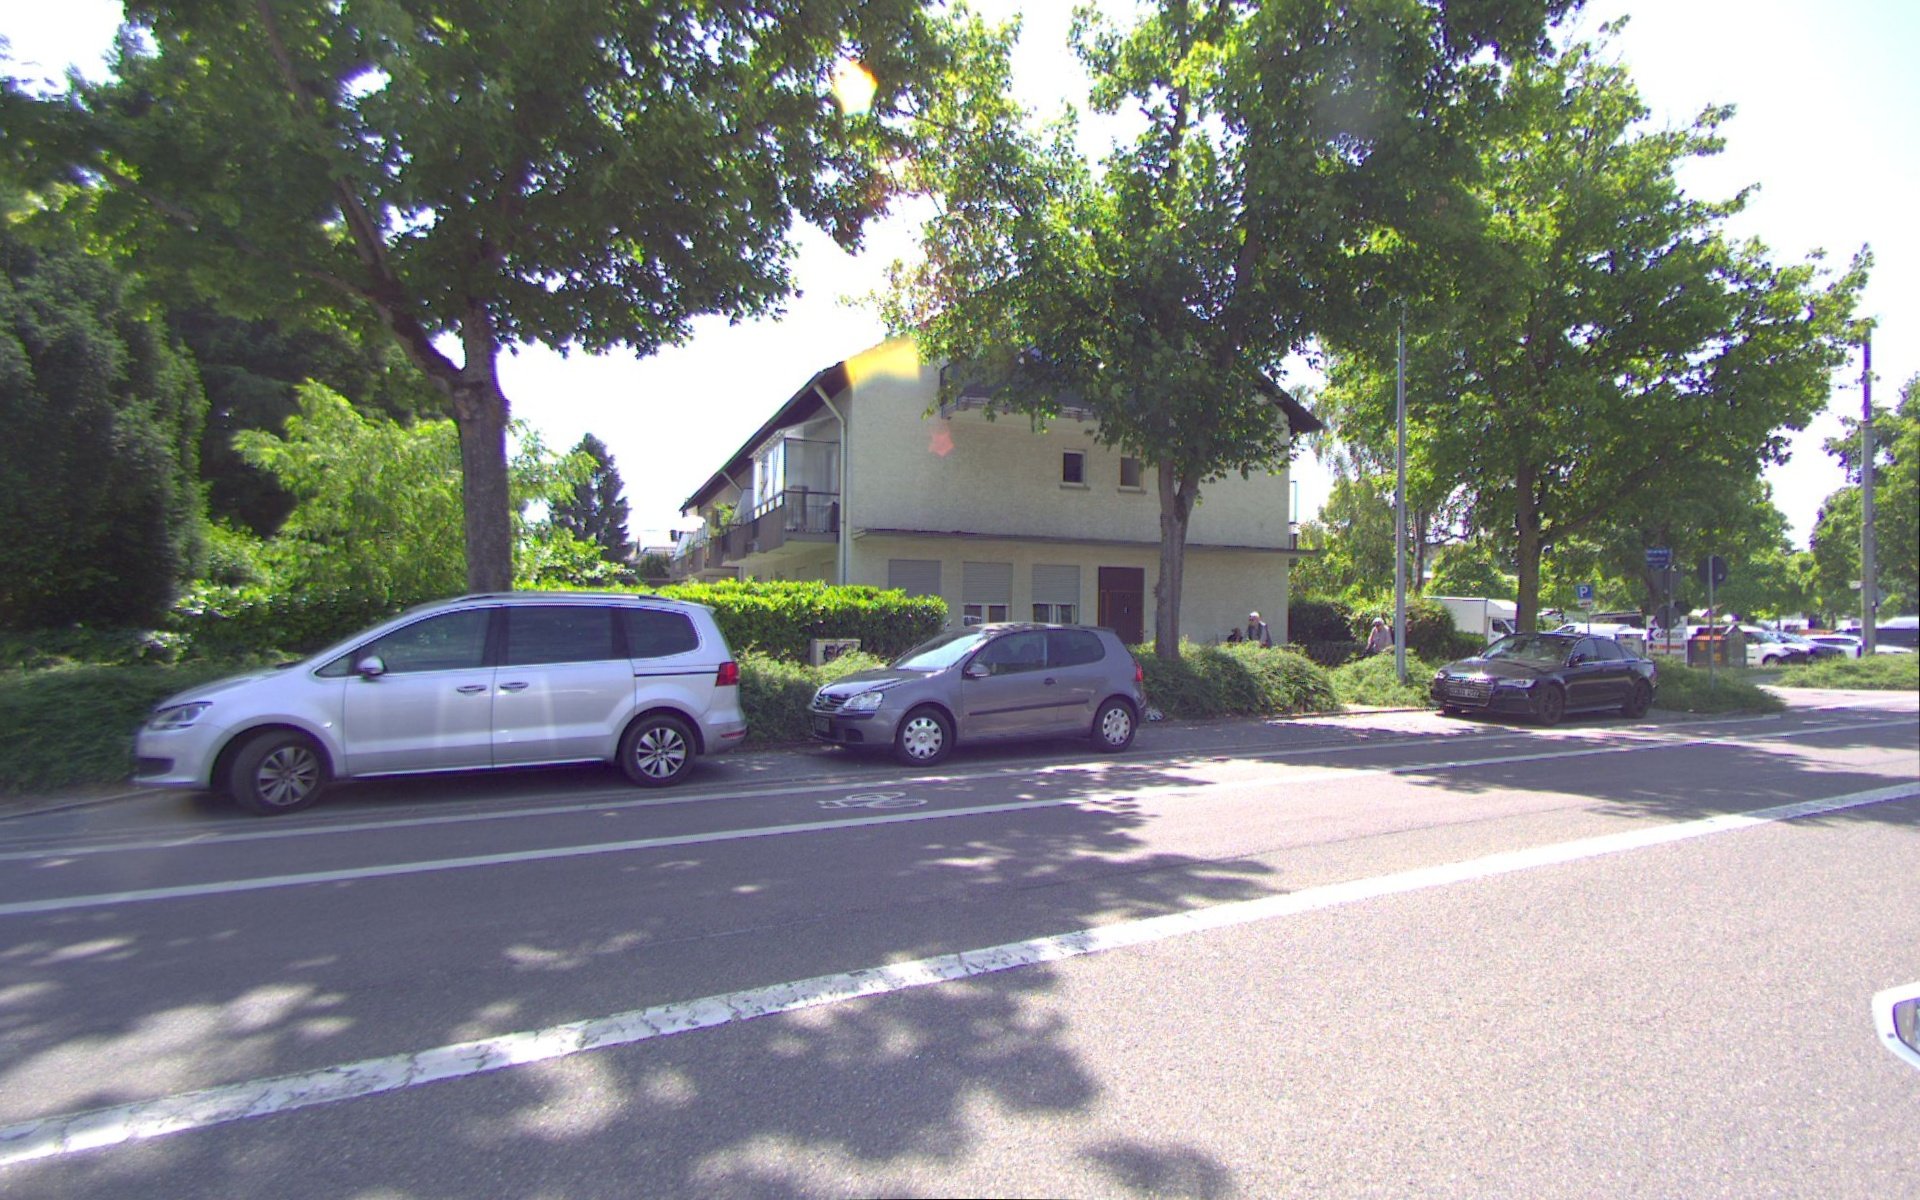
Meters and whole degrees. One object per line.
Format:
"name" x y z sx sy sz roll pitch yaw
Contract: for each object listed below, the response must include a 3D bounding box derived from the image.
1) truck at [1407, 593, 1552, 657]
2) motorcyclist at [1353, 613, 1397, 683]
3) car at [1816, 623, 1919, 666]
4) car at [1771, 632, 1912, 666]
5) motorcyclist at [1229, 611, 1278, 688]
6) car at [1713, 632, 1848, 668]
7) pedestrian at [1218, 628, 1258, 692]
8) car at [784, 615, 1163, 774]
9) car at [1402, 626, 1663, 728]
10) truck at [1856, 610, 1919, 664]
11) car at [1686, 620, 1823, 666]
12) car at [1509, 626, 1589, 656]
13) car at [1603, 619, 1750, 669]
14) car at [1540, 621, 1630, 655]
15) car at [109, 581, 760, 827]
"truck" 28.026 1.284 54.552 2.126 3.270 6.942 1 -1 -31
"motorcyclist" 9.387 1.072 22.728 0.654 1.523 0.584 1 2 -29
"car" 44.865 2.135 49.167 1.835 2.021 4.189 1 -1 -30
"car" 42.284 2.310 48.287 2.034 1.508 4.738 1 -1 -30
"motorcyclist" 6.064 1.013 20.780 0.716 1.523 0.584 1 2 -29
"car" 35.731 2.142 43.827 2.059 1.422 4.171 1 -2 -33
"pedestrian" 6.868 1.473 24.821 0.599 1.530 0.792 1 -1 -23
"car" 0.215 0.974 11.556 4.080 1.506 1.668 1 0 -31
"car" 9.874 1.220 17.211 4.757 1.476 1.883 1 0 -33
"truck" 51.517 1.967 53.224 2.402 2.796 5.556 1 -1 -28
"car" 33.446 1.766 42.420 1.652 1.860 4.251 1 -1 -27
"car" 34.408 2.373 58.752 1.712 1.597 3.729 1 -1 -30
"car" 28.912 1.721 40.672 2.039 1.881 4.421 1 -1 -33
"car" 36.740 2.206 59.146 1.948 1.844 4.108 2 -1 -30
"car" -4.339 0.762 8.975 4.630 1.711 1.962 1 0 -29
